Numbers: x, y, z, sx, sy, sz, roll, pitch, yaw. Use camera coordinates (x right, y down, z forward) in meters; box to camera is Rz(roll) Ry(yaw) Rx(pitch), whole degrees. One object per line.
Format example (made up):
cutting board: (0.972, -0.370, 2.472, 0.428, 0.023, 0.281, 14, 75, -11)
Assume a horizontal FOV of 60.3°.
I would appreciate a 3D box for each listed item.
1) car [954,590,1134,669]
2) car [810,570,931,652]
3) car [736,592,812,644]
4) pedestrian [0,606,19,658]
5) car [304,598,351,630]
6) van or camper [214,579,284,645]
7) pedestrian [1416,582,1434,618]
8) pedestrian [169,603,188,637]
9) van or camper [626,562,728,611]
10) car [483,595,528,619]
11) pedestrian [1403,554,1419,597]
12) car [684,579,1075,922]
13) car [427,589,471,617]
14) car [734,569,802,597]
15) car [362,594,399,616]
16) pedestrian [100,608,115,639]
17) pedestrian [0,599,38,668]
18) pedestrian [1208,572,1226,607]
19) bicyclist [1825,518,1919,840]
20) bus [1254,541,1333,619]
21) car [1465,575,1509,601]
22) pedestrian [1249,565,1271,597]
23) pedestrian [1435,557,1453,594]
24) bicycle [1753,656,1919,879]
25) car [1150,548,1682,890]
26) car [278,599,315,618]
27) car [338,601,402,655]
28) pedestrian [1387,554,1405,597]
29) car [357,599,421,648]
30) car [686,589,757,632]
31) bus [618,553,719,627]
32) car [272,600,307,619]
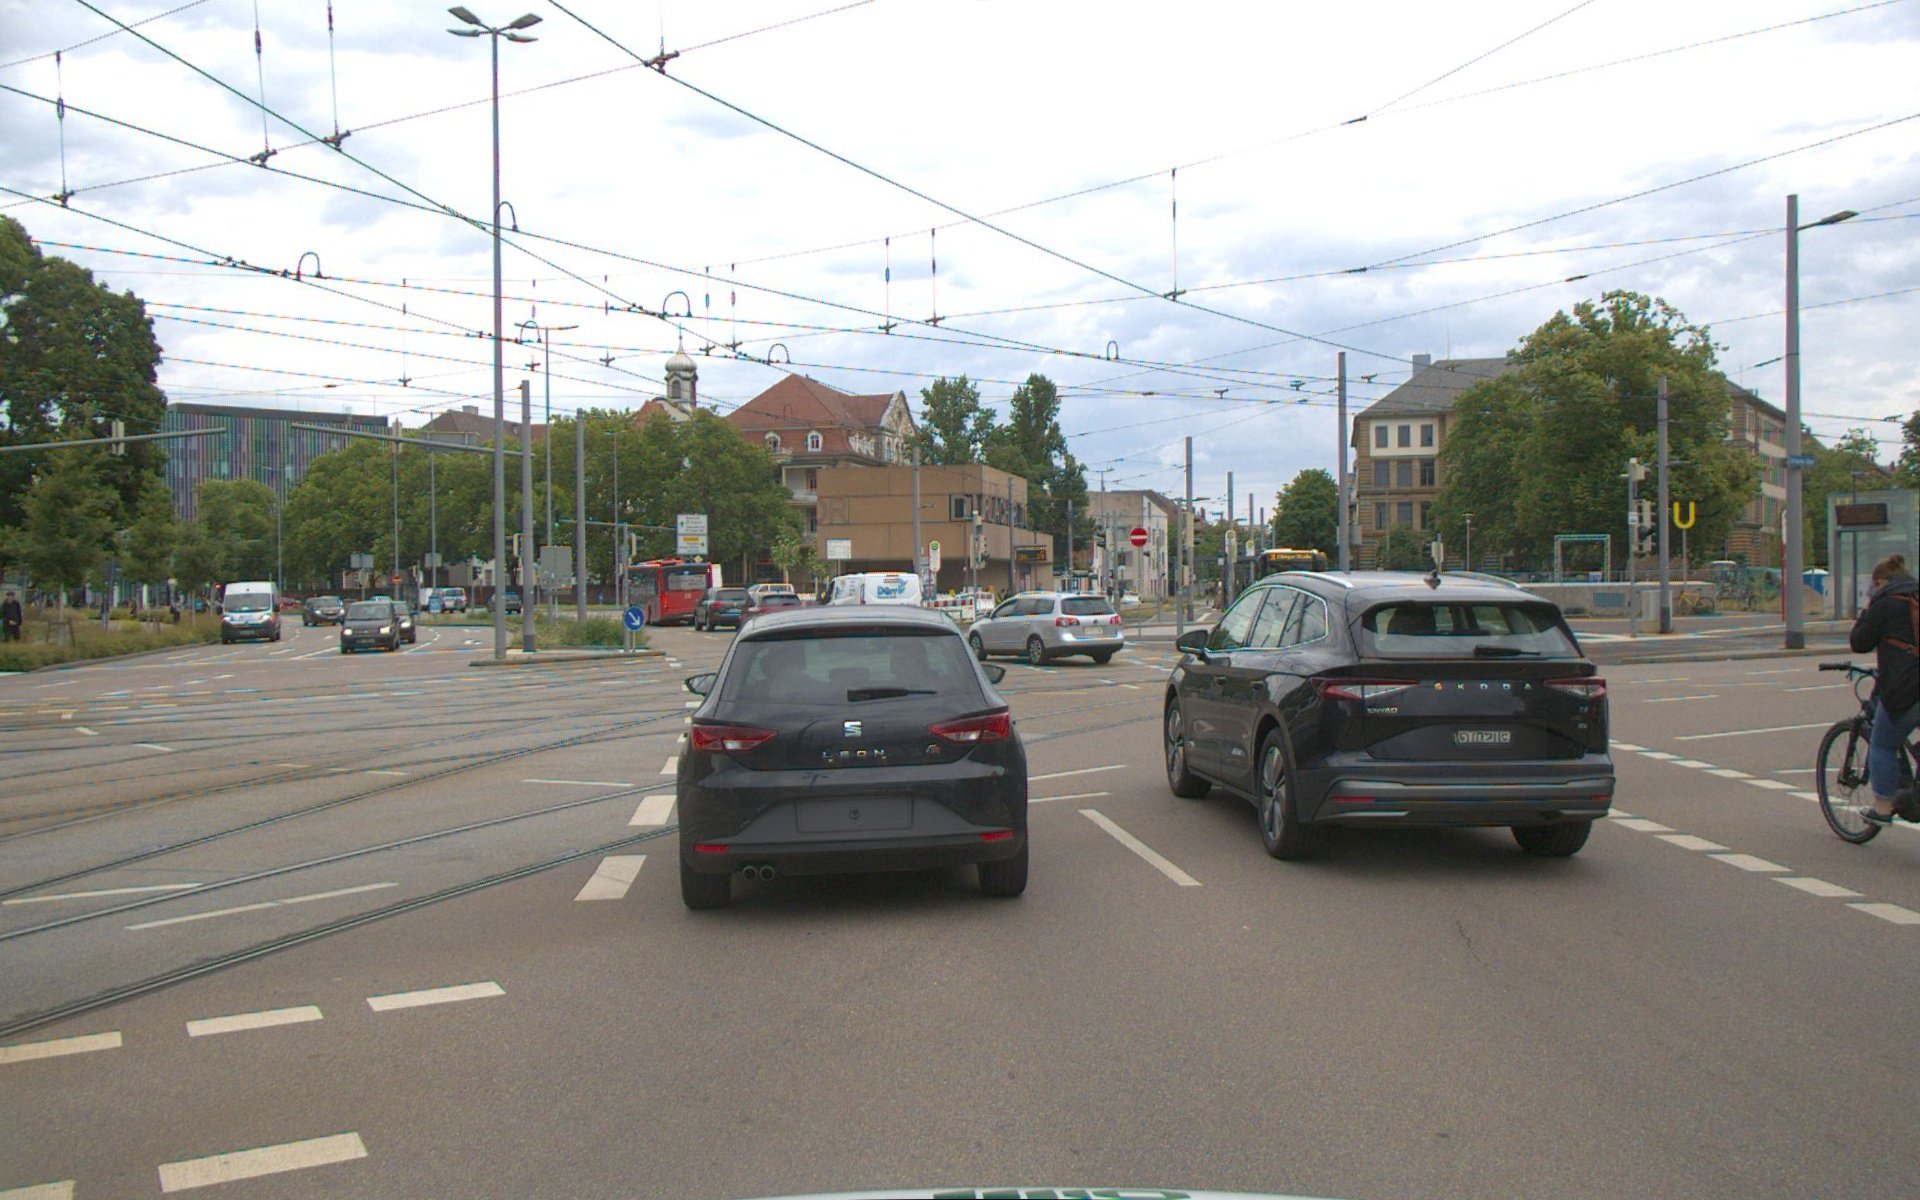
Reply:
car: (1.716, 0.590, 35.458, 1.701, 1.508, 4.585, -3, 1, -28)
car: (-2.507, 0.273, 44.994, 1.964, 2.054, 5.004, -1, 1, -19)
car: (-6.235, 0.573, 55.034, 1.828, 1.628, 4.186, -1, 1, -16)
pedestrian: (-32.974, 1.107, 56.980, 0.734, 1.764, 0.684, -2, 1, -12)
car: (-37.047, 0.820, 96.811, 1.851, 1.755, 4.664, -3, 1, -30)
van or camper: (-29.773, 0.479, 69.409, 2.245, 2.571, 5.541, -2, 1, -19)
pedestrian: (24.207, 0.024, 86.077, 0.806, 1.840, 1.021, -3, -2, 18)
pedestrian: (-43.119, 1.106, 91.226, 0.881, 1.874, 0.663, -1, 0, -23)
van or camper: (-21.119, -1.049, 123.760, 7.094, 3.390, 2.832, -2, -1, -43)
car: (-31.147, 0.460, 113.279, 1.973, 1.566, 3.959, -1, 0, -30)
pedestrian: (45.165, -2.444, 165.680, 1.279, 4.328, 1.347, -1, 0, 2)
car: (-0.515, 0.638, 9.280, 1.712, 1.489, 3.996, 0, 0, -5)
car: (-38.621, 0.198, 124.949, 1.978, 2.049, 3.948, -1, 0, -36)
car: (-14.988, -1.340, 129.253, 4.963, 1.897, 1.969, -2, -3, -42)
car: (-48.983, 0.441, 139.698, 1.976, 1.780, 3.952, -1, 0, -34)
pedestrian: (-42.704, 1.177, 82.875, 0.553, 1.568, 0.750, -1, 0, -21)
pedestrian: (-28.067, 1.000, 49.272, 0.804, 2.015, 0.656, -2, 1, -12)
pedestrian: (13.704, -0.581, 88.162, 0.806, 1.840, 1.022, -1, 0, 18)
bicyclist: (5.357, 0.410, 9.249, 0.603, 1.720, 0.806, -1, 1, 0)
bus: (15.923, -0.959, 78.333, 2.952, 3.325, 13.053, -1, 0, 14)
car: (35.843, -0.806, 112.496, 1.869, 1.691, 4.001, 0, 0, 3)
pedestrian: (15.560, -0.985, 85.731, 0.983, 1.673, 1.022, -1, 0, 18)
pedestrian: (24.843, -1.264, 84.837, 0.806, 1.885, 1.022, -1, 0, 18)
bicycle: (5.366, 0.920, 9.485, 0.612, 1.073, 2.126, -1, 1, 0)
car: (2.596, 0.577, 10.677, 1.866, 1.687, 4.510, -1, 1, -5)
car: (-63.793, 0.846, 158.961, 1.984, 1.780, 3.937, -1, 0, -43)
car: (-18.134, 0.830, 50.957, 1.592, 1.542, 3.648, -2, 1, -16)
pedestrian: (43.732, -2.439, 165.950, 1.359, 4.328, 1.346, -1, 0, -1)
car: (-20.197, 0.782, 58.617, 1.841, 1.534, 4.458, -4, 1, -16)
car: (-9.418, 0.407, 65.076, 1.964, 1.593, 4.180, -1, 1, -20)
bus: (-14.616, -0.462, 82.055, 3.012, 3.355, 12.309, -1, 0, -19)
car: (-61.312, 0.882, 151.218, 1.981, 1.711, 3.954, -1, 0, -39)
